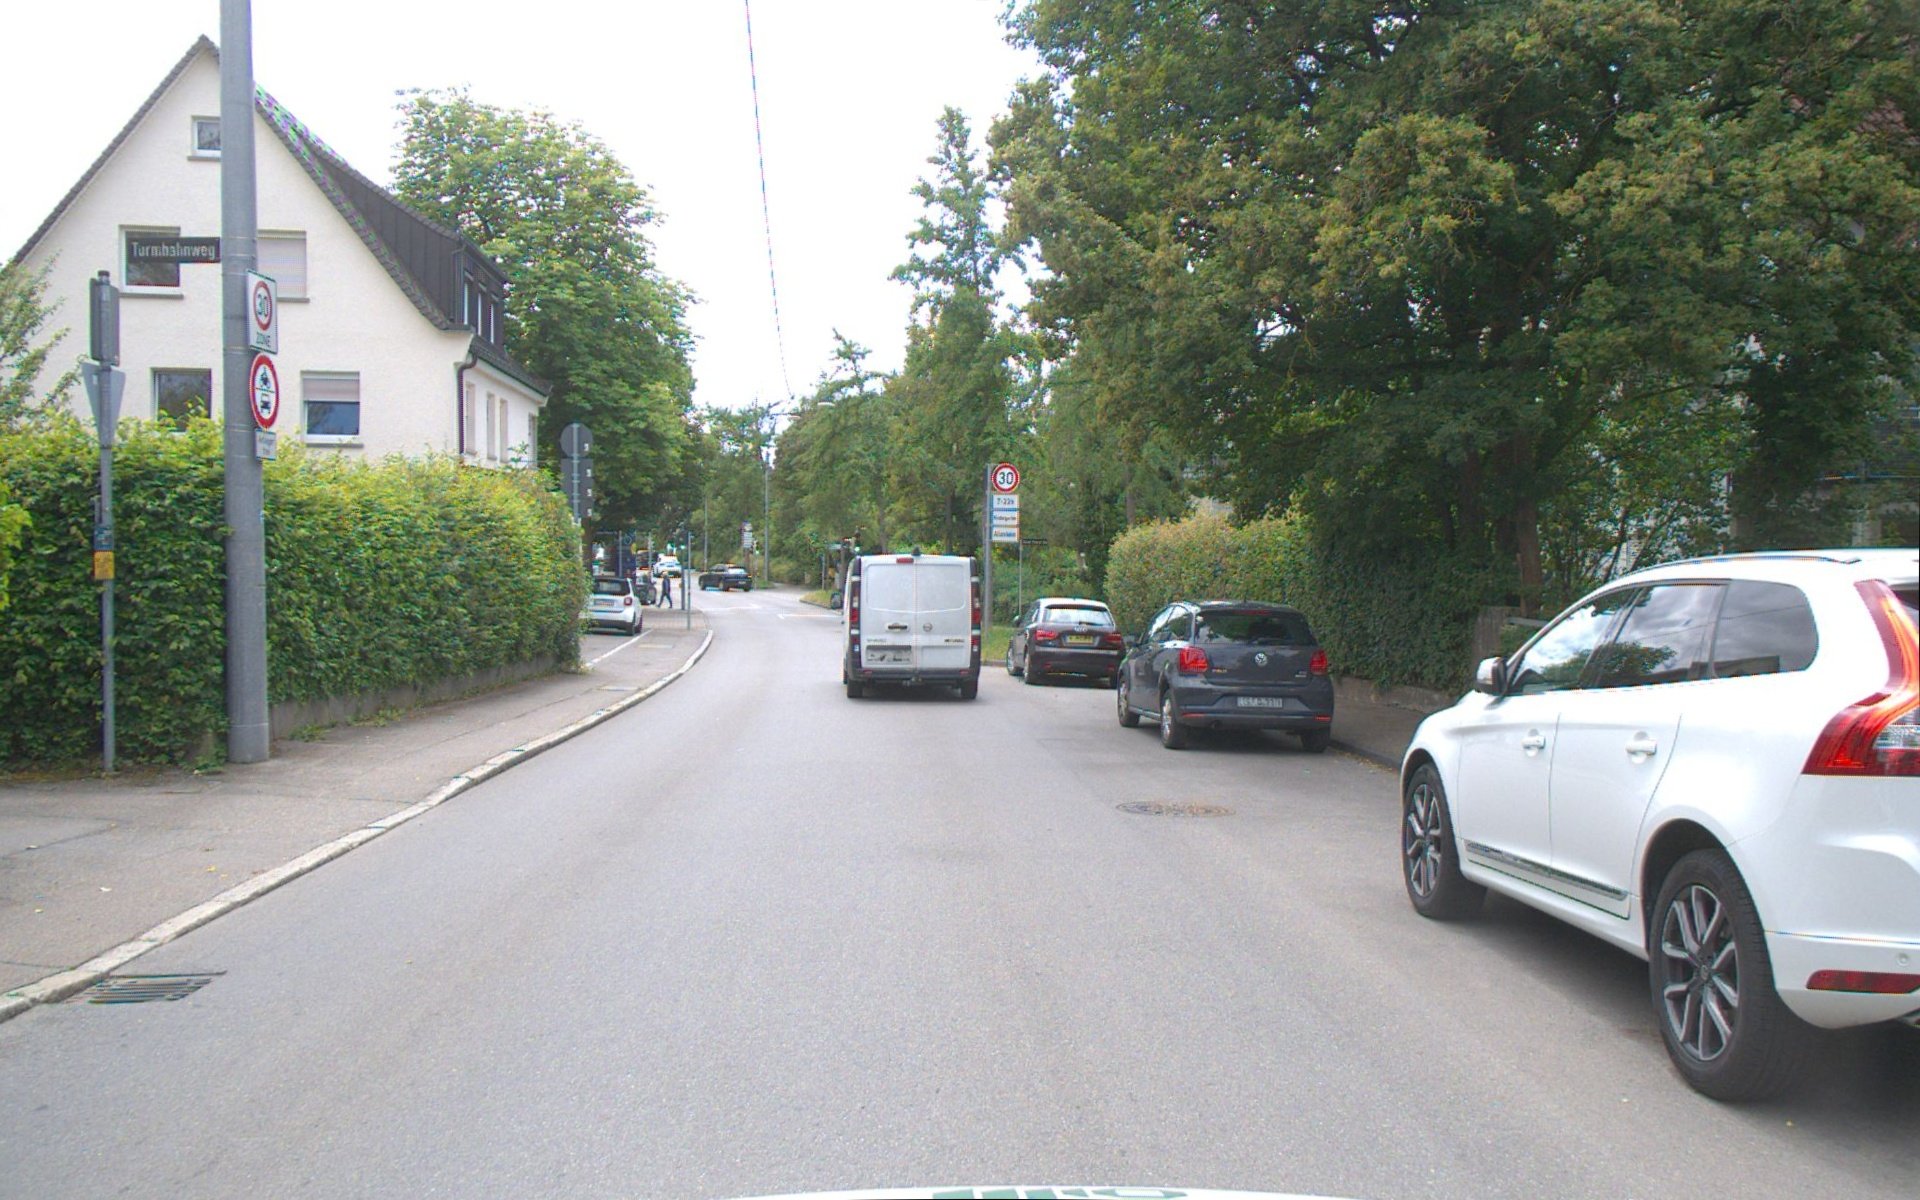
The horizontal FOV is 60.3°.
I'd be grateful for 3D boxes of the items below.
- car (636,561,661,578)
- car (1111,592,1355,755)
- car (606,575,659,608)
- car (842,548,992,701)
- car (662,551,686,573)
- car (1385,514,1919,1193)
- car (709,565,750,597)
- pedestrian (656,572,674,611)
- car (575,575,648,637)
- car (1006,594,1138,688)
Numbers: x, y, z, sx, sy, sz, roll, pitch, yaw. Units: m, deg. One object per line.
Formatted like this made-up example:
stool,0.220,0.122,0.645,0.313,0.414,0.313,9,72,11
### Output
car,-30.904,-3.031,164.007,1.865,1.639,4.477,1,1,-18
car,2.759,0.691,17.540,1.676,1.513,3.787,1,0,-5
car,-15.379,-0.411,77.961,1.744,1.466,4.523,2,0,-3
car,-0.718,0.285,24.185,1.892,1.998,4.397,1,1,-5
car,-22.721,-3.019,131.421,1.792,1.758,3.991,1,1,-10
car,3.177,0.644,6.386,1.827,1.714,4.349,1,0,-2
car,-14.199,-1.164,101.652,1.866,1.892,4.384,1,1,-17
pedestrian,-12.687,-0.387,71.110,0.684,1.644,0.714,1,2,-6
car,-9.548,0.131,45.475,1.558,1.565,2.920,3,1,-6
car,1.872,0.662,28.677,1.676,1.437,3.786,2,0,-5
